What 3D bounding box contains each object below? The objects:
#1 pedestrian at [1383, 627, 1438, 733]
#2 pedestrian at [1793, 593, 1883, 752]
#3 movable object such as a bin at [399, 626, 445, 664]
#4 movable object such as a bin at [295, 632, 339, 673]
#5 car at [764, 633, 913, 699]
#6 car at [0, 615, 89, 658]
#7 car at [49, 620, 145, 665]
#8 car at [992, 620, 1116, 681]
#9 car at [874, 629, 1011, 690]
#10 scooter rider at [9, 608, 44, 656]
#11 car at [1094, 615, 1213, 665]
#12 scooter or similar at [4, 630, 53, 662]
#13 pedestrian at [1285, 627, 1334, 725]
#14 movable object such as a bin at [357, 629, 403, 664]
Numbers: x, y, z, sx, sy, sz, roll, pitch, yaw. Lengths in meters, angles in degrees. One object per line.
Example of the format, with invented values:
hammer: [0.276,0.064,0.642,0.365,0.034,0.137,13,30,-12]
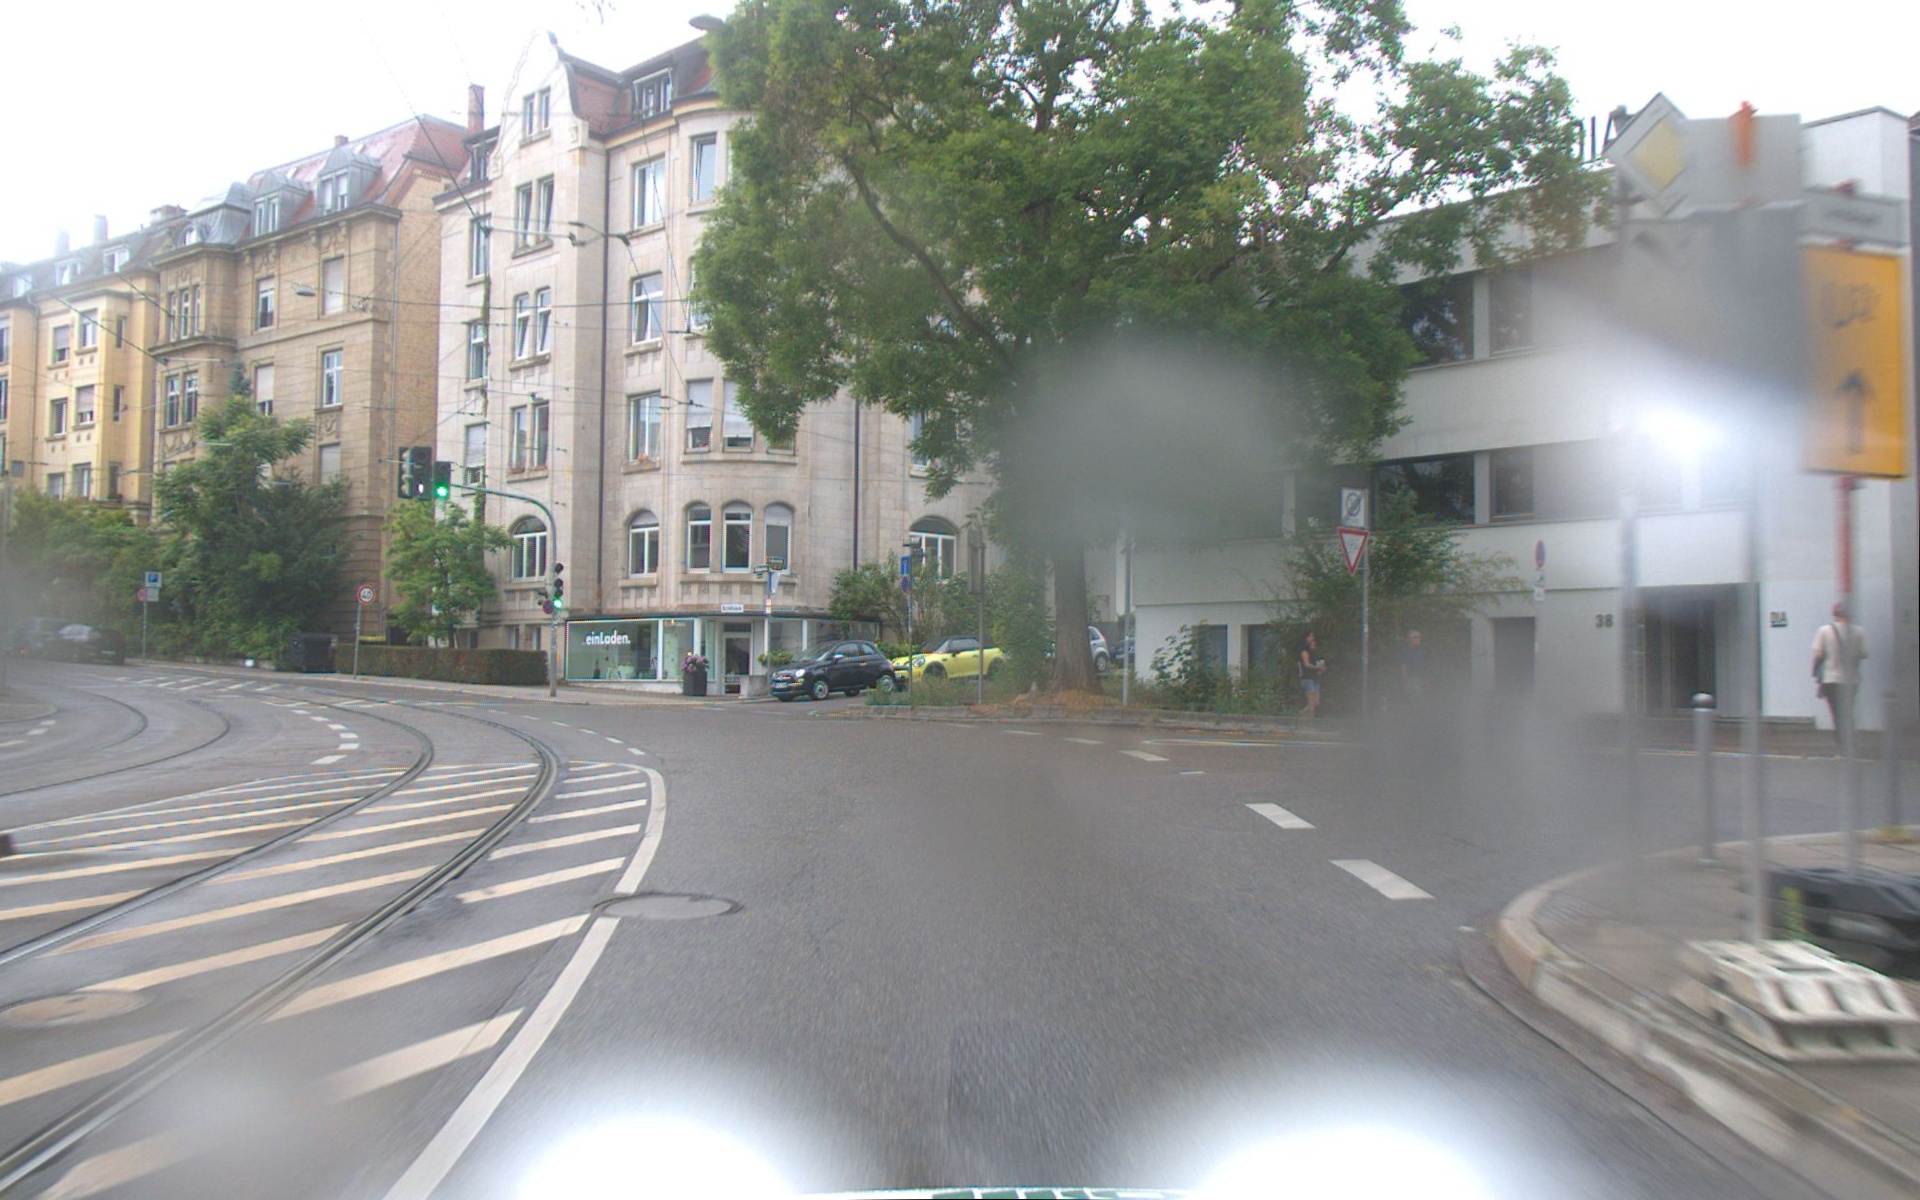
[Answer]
pedestrian: [7.275,1.277,26.699,0.539,1.658,0.595,2,1,-33]
pedestrian: [9.825,0.797,18.510,0.738,1.730,0.664,1,-1,-39]
movable object such as a bin: [-21.178,1.755,65.143,1.283,1.450,1.228,0,-1,39]
movable object such as a bin: [-23.839,1.942,61.311,0.805,1.427,1.226,3,1,31]
car: [-3.173,1.693,43.466,3.640,1.534,1.711,-1,0,-42]
car: [-37.171,1.456,66.741,4.200,1.632,1.766,1,-1,34]
car: [-33.041,1.631,63.289,3.924,1.415,1.763,3,-2,39]
car: [2.855,1.501,49.566,1.596,1.534,3.749,-5,-1,43]
car: [-0.469,1.633,46.214,3.640,1.534,1.711,-1,0,-42]
scooter rider: [-34.975,1.192,61.955,0.825,1.735,0.624,2,-4,27]
car: [6.279,1.332,53.480,3.861,1.534,1.600,2,-4,-40]
scooter or similar: [-34.837,1.717,61.873,1.963,1.068,0.514,2,-4,27]
pedestrian: [5.901,1.278,27.939,0.589,1.593,0.544,2,0,-10]
movable object such as a bin: [-22.333,1.784,63.694,1.146,1.331,1.215,0,-1,39]
